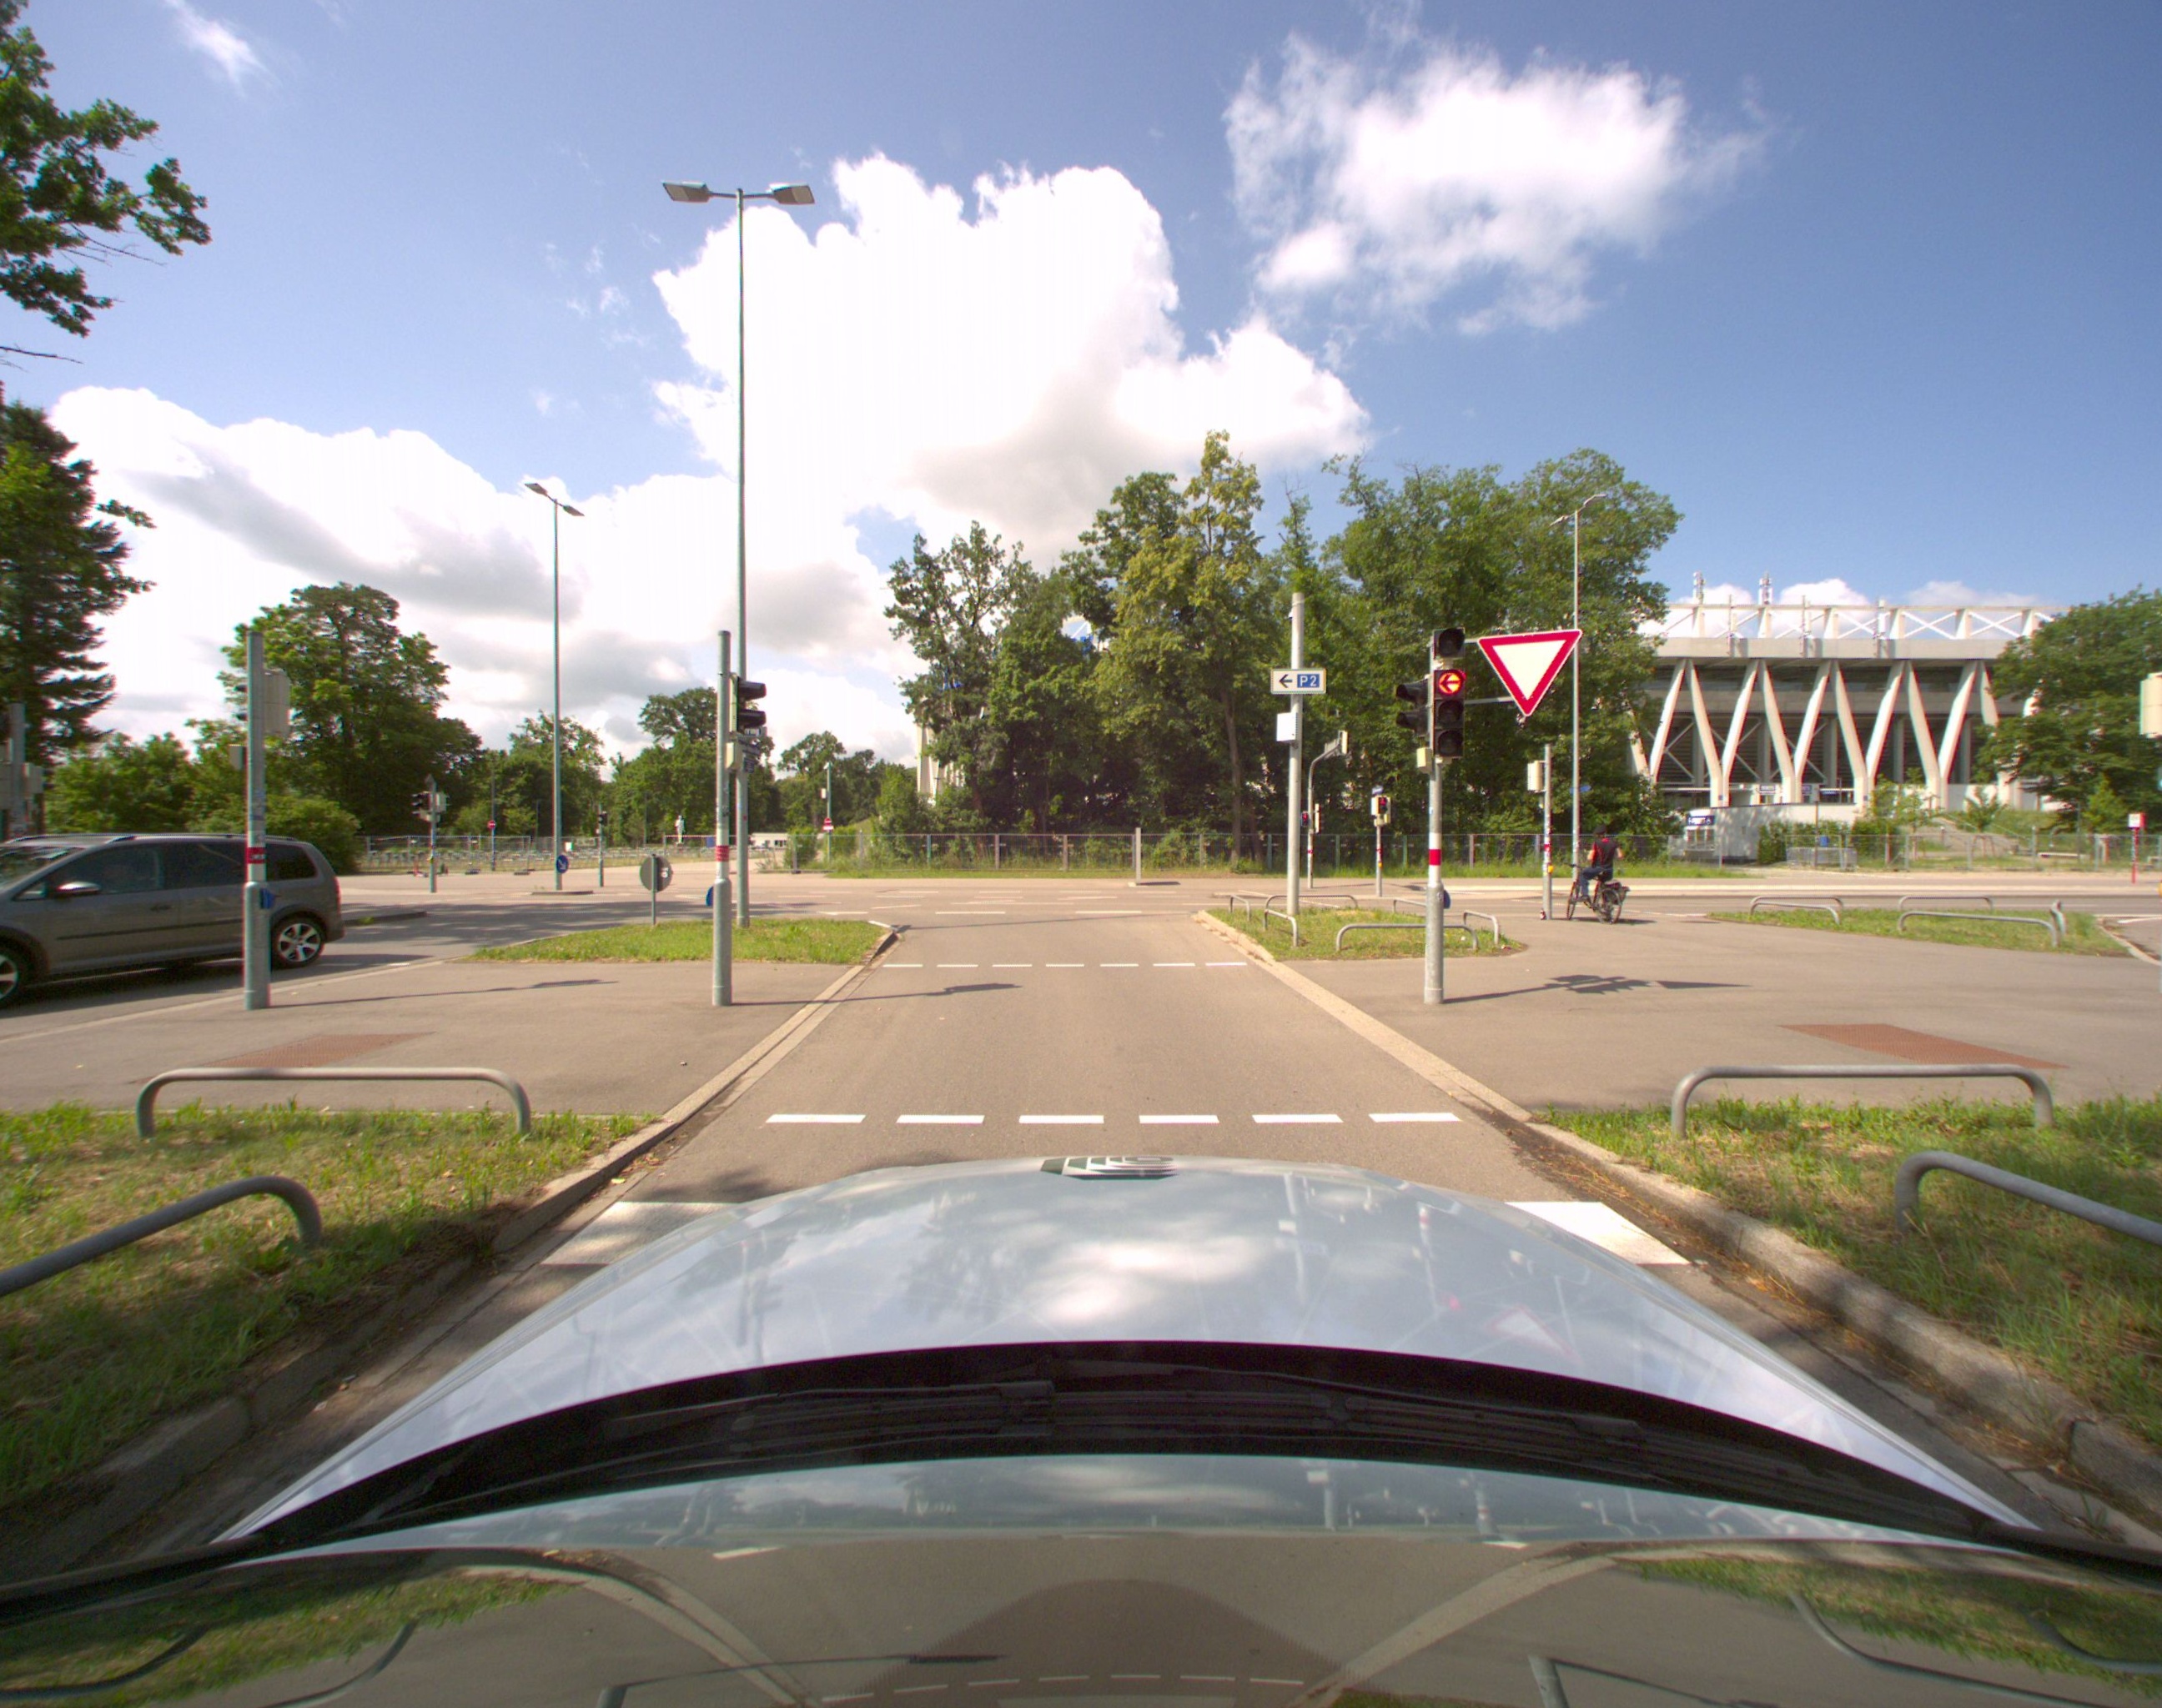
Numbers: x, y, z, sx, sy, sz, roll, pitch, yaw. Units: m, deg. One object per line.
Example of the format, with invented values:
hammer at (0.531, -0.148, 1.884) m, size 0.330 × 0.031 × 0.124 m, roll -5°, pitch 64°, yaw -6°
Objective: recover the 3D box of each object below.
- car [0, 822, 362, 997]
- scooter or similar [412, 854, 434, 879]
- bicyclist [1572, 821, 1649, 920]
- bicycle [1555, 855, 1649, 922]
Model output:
car at (-10.746, 0.508, 8.815) m, size 1.751 × 1.629 × 4.308 m, roll -1°, pitch 1°, yaw 7°
scooter or similar at (-32.127, 0.586, 39.758) m, size 1.295 × 1.200 × 0.410 m, roll 0°, pitch 1°, yaw 32°
bicyclist at (9.903, 0.305, 15.279) m, size 0.879 × 1.798 × 0.981 m, roll -1°, pitch -1°, yaw 10°
bicycle at (9.960, 0.638, 15.664) m, size 0.875 × 1.206 × 1.903 m, roll -1°, pitch -1°, yaw 11°
